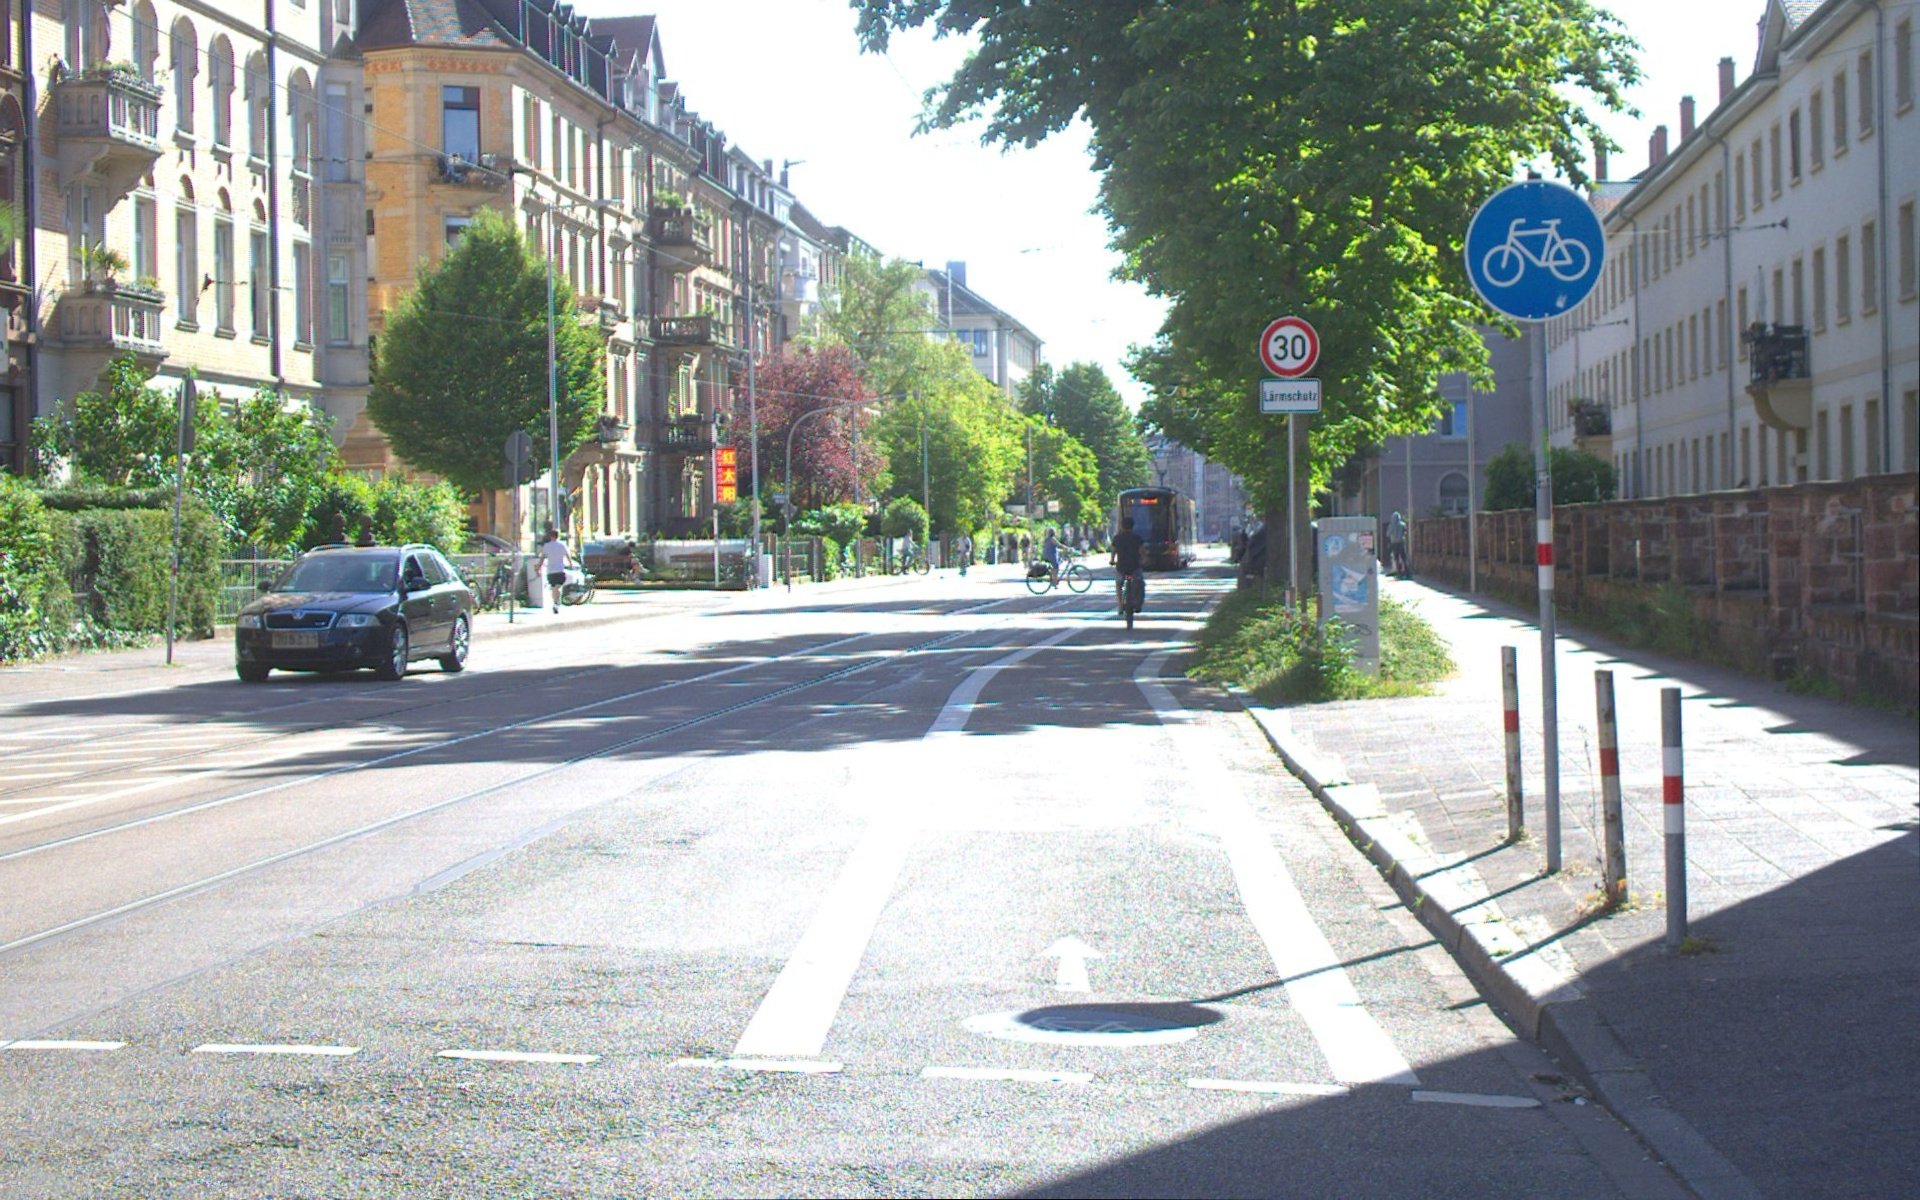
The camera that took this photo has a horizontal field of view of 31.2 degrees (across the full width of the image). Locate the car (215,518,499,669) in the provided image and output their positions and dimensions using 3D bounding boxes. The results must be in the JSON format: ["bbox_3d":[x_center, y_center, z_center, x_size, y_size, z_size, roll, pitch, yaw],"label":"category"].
[{"bbox_3d":[-6.656,-0.126,38.483,1.832,1.513,4.966,2,2,6],"label":"car"}]

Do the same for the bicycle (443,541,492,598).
[{"bbox_3d":[-9.604,-0.598,66.972,0.563,1.030,1.768,3,2,-19],"label":"bicycle"}]

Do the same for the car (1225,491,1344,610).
[{"bbox_3d":[5.015,-0.795,53.448,1.744,1.760,4.477,0,2,5],"label":"car"}]

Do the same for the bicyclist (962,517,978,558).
[{"bbox_3d":[0.398,-2.492,137.493,0.464,1.613,0.744,-3,1,6],"label":"bicyclist"}]

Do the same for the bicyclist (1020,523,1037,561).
[{"bbox_3d":[3.311,-2.794,166.364,0.660,1.795,0.616,-3,0,6],"label":"bicyclist"}]

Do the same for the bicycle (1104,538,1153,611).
[{"bbox_3d":[2.685,-0.413,54.592,0.692,1.108,1.718,1,2,6],"label":"bicycle"}]

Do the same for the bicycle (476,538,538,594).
[{"bbox_3d":[-8.991,-0.683,68.229,0.563,1.030,1.768,-1,3,-31],"label":"bicycle"}]

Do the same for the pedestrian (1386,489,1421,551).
[{"bbox_3d":[12.336,-2.222,95.682,0.764,1.718,0.578,1,2,35],"label":"pedestrian"}]

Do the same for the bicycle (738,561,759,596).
[{"bbox_3d":[-6.341,-0.645,103.310,0.335,0.997,1.869,1,2,6],"label":"bicycle"}]

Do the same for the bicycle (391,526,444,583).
[{"bbox_3d":[-10.059,-0.856,63.806,0.563,1.030,1.767,1,2,5],"label":"bicycle"}]

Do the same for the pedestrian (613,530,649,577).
[{"bbox_3d":[-9.879,-1.403,103.172,0.901,1.348,0.577,-3,1,7],"label":"pedestrian"}]

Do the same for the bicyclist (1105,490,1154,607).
[{"bbox_3d":[2.685,-0.823,54.514,0.727,1.842,0.836,1,1,5],"label":"bicyclist"}]

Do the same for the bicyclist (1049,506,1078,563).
[{"bbox_3d":[2.642,-1.671,87.745,0.613,1.463,0.637,0,1,-9],"label":"bicyclist"}]

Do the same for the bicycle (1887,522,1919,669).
[{"bbox_3d":[7.391,-0.029,25.704,0.458,1.089,1.673,0,2,0],"label":"bicycle"}]

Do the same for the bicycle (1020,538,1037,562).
[{"bbox_3d":[3.316,-2.426,166.370,0.692,1.108,1.718,-2,1,6],"label":"bicycle"}]

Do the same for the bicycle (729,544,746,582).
[{"bbox_3d":[-6.625,-1.112,102.383,0.371,1.122,0.808,1,1,6],"label":"bicycle"}]

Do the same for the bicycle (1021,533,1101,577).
[{"bbox_3d":[2.571,-1.151,87.725,1.910,1.108,0.694,0,1,-10],"label":"bicycle"}]

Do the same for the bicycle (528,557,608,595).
[{"bbox_3d":[-9.384,-0.578,82.338,1.782,0.911,0.621,0,0,-30],"label":"bicycle"}]

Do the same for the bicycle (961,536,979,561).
[{"bbox_3d":[0.407,-2.064,137.574,0.460,0.922,2.202,-2,1,6],"label":"bicycle"}]

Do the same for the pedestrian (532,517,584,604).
[{"bbox_3d":[-8.062,-0.788,68.965,0.829,1.718,1.082,1,0,3],"label":"pedestrian"}]

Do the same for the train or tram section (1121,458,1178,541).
[{"bbox_3d":[8.049,-4.247,145.729,2.154,3.420,6.610,1,2,5],"label":"train or tram section"}]

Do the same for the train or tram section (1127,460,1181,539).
[{"bbox_3d":[8.634,-4.432,152.320,2.154,3.420,6.610,1,2,5],"label":"train or tram section"}]

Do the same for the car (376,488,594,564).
[{"bbox_3d":[-10.586,-1.654,76.709,4.447,1.638,1.966,1,1,8],"label":"car"}]
